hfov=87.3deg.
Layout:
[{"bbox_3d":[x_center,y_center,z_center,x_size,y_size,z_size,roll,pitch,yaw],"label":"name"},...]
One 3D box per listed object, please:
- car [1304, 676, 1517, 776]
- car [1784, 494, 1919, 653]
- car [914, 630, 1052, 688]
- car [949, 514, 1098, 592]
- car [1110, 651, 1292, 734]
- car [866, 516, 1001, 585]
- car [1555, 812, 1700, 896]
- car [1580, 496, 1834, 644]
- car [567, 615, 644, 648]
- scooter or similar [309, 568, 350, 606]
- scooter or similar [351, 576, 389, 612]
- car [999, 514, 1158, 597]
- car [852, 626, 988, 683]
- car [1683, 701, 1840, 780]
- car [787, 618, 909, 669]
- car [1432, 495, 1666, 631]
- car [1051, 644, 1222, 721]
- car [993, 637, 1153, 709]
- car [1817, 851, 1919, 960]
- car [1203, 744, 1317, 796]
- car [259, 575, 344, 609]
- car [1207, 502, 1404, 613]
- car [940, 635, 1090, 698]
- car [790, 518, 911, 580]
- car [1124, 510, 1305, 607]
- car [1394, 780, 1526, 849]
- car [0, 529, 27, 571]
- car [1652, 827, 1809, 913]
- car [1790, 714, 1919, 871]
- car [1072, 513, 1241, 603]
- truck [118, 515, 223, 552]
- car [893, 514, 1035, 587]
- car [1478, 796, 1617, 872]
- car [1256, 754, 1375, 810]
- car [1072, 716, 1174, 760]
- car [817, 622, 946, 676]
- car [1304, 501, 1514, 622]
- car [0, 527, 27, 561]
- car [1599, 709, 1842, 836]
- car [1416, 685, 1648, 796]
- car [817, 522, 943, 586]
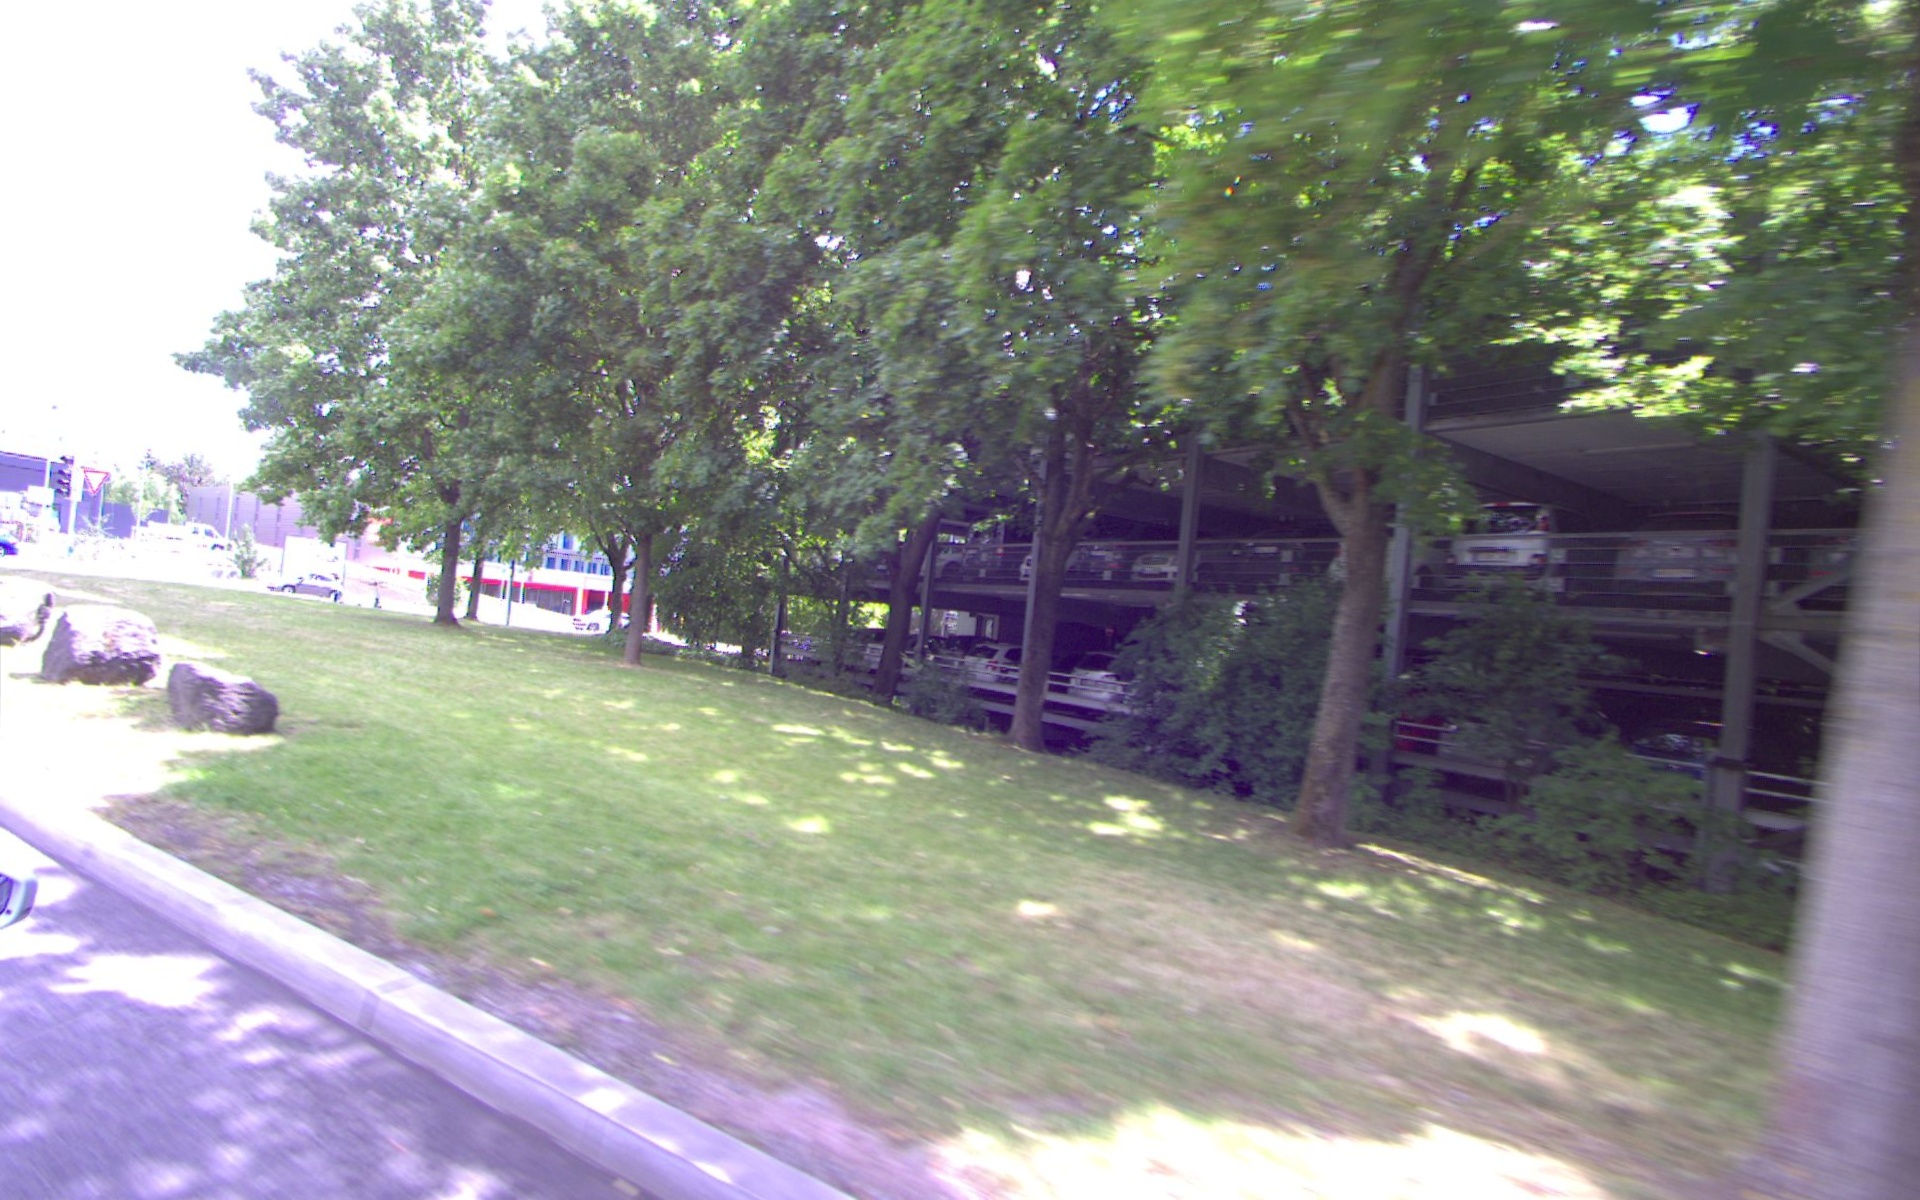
[{"bbox_3d":[8.194,2.299,18.210,3.764,1.409,1.760,8,-1,-36],"label":"car"},{"bbox_3d":[11.991,-0.219,12.438,3.669,1.561,1.711,7,1,-35],"label":"car"},{"bbox_3d":[0.716,1.780,30.141,3.764,1.308,1.760,8,-1,-36],"label":"car"},{"bbox_3d":[1.762,-1.274,27.592,3.669,1.561,1.711,7,1,-35],"label":"car"},{"bbox_3d":[5.331,2.048,22.104,3.764,1.409,1.760,8,-1,-36],"label":"car"},{"bbox_3d":[-0.789,-1.498,30.979,3.669,1.561,1.711,7,1,-35],"label":"car"},{"bbox_3d":[16.180,6.066,24.343,3.747,1.388,1.624,6,0,-36],"label":"car"},{"bbox_3d":[10.775,-0.401,14.454,3.669,1.561,1.711,7,1,-35],"label":"car"},{"bbox_3d":[-24.913,2.243,70.876,1.706,1.677,4.892,6,-3,35],"label":"car"},{"bbox_3d":[-24.239,-0.495,38.699,0.524,1.278,1.192,5,-3,12],"label":"scooter or similar"},{"bbox_3d":[-23.393,-0.224,39.922,0.524,1.278,1.192,5,-3,12],"label":"scooter or similar"},{"bbox_3d":[3.034,-1.119,25.596,3.669,1.561,1.711,7,1,-35],"label":"car"},{"bbox_3d":[-1.214,1.709,31.228,3.764,1.308,1.760,8,-1,-36],"label":"car"},{"bbox_3d":[18.342,3.225,22.987,3.764,1.409,1.760,8,-1,-36],"label":"car"},{"bbox_3d":[-3.852,1.498,34.799,3.764,1.308,1.760,8,-1,-36],"label":"car"},{"bbox_3d":[9.549,-0.569,16.248,3.669,1.640,1.711,7,1,-35],"label":"car"},{"bbox_3d":[4.220,1.972,23.856,3.764,1.409,1.760,8,-1,-36],"label":"car"},{"bbox_3d":[2.920,1.867,25.691,3.764,1.409,1.760,8,-1,-36],"label":"car"},{"bbox_3d":[19.471,6.263,20.886,3.747,1.465,1.624,6,0,-36],"label":"car"},{"bbox_3d":[10.065,5.651,33.721,3.747,1.388,1.624,6,0,-36],"label":"car"},{"bbox_3d":[-36.046,-0.410,55.129,1.562,1.478,3.511,6,0,38],"label":"car"},{"bbox_3d":[6.883,-0.823,19.957,3.669,1.640,1.711,7,1,-35],"label":"car"},{"bbox_3d":[1.537,1.838,27.748,3.764,1.308,1.760,8,-1,-36],"label":"car"},{"bbox_3d":[-3.759,-1.758,34.842,3.669,1.561,1.711,7,1,-35],"label":"car"},{"bbox_3d":[5.593,-0.896,22.001,3.669,1.561,1.711,7,1,-35],"label":"car"},{"bbox_3d":[13.825,5.860,27.768,3.747,1.388,1.624,6,0,-35],"label":"car"},{"bbox_3d":[-44.002,-2.562,43.634,1.886,1.707,4.962,5,-5,44],"label":"car"},{"bbox_3d":[17.801,6.150,23.203,3.764,1.348,1.760,8,-1,-36],"label":"car"},{"bbox_3d":[12.407,2.478,12.917,3.823,1.645,1.679,7,-1,-36],"label":"car"},{"bbox_3d":[4.659,-0.976,23.745,3.669,1.561,1.711,7,1,-35],"label":"car"},{"bbox_3d":[-63.884,-5.352,81.521,6.527,2.173,1.978,5,0,-40],"label":"truck"},{"bbox_3d":[0.136,-1.418,29.254,3.669,1.561,1.711,7,1,-35],"label":"car"},{"bbox_3d":[15.202,5.981,25.972,3.747,1.388,1.624,6,0,-35],"label":"car"},{"bbox_3d":[11.339,5.743,31.984,3.747,1.388,1.624,6,0,-36],"label":"car"},{"bbox_3d":[6.306,5.322,38.754,3.747,1.388,1.624,6,0,-36],"label":"car"},{"bbox_3d":[-2.547,1.612,33.011,3.764,1.308,1.760,8,-1,-36],"label":"car"},{"bbox_3d":[8.244,-0.682,18.403,3.669,1.640,1.711,7,1,-35],"label":"car"},{"bbox_3d":[-46.106,-2.868,46.511,1.670,1.415,3.994,5,-4,34],"label":"car"},{"bbox_3d":[11.125,2.484,14.652,3.823,1.409,1.679,8,-1,-36],"label":"car"},{"bbox_3d":[9.341,2.296,16.348,3.823,1.409,1.760,8,-1,-36],"label":"car"},{"bbox_3d":[-2.616,-1.520,33.234,3.669,1.561,1.711,7,1,-35],"label":"car"}]
